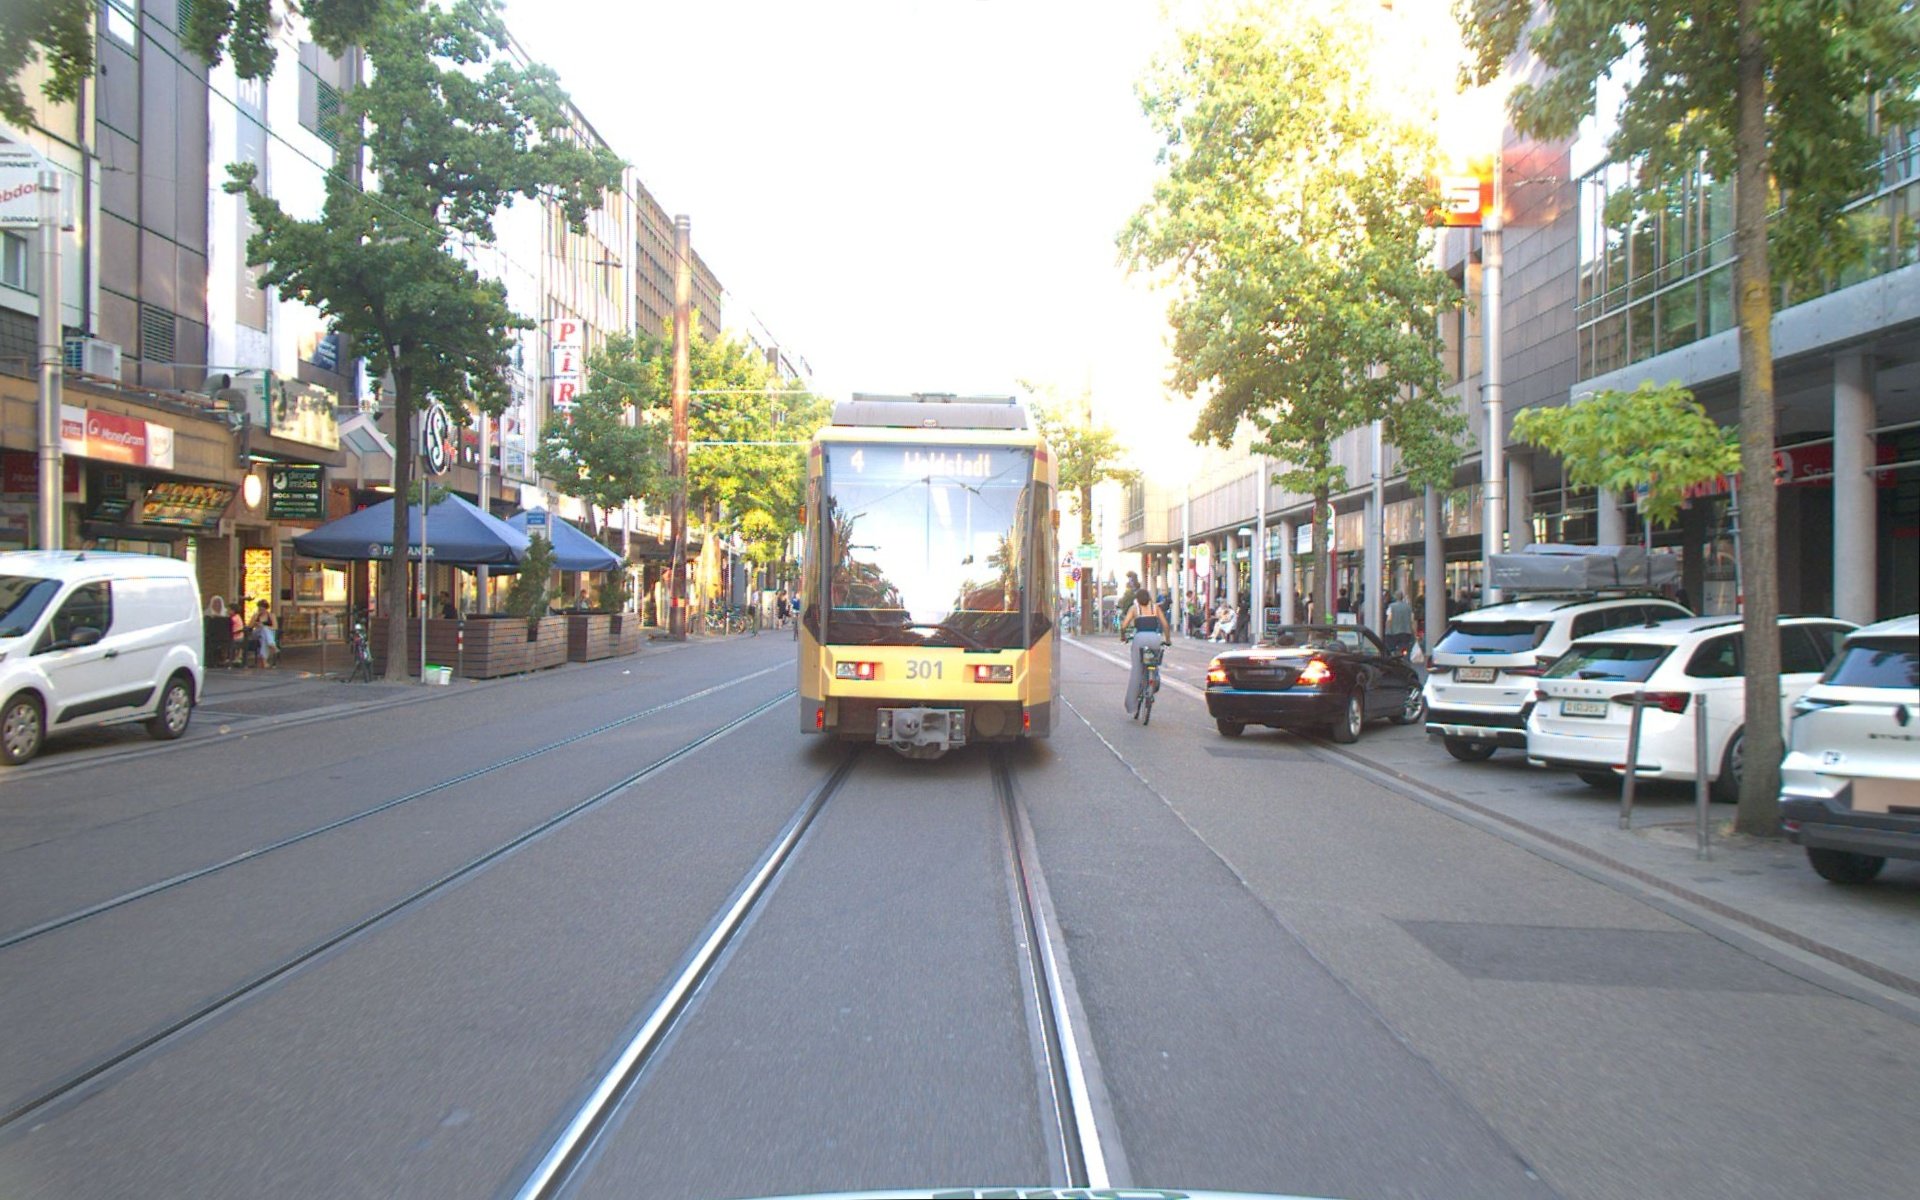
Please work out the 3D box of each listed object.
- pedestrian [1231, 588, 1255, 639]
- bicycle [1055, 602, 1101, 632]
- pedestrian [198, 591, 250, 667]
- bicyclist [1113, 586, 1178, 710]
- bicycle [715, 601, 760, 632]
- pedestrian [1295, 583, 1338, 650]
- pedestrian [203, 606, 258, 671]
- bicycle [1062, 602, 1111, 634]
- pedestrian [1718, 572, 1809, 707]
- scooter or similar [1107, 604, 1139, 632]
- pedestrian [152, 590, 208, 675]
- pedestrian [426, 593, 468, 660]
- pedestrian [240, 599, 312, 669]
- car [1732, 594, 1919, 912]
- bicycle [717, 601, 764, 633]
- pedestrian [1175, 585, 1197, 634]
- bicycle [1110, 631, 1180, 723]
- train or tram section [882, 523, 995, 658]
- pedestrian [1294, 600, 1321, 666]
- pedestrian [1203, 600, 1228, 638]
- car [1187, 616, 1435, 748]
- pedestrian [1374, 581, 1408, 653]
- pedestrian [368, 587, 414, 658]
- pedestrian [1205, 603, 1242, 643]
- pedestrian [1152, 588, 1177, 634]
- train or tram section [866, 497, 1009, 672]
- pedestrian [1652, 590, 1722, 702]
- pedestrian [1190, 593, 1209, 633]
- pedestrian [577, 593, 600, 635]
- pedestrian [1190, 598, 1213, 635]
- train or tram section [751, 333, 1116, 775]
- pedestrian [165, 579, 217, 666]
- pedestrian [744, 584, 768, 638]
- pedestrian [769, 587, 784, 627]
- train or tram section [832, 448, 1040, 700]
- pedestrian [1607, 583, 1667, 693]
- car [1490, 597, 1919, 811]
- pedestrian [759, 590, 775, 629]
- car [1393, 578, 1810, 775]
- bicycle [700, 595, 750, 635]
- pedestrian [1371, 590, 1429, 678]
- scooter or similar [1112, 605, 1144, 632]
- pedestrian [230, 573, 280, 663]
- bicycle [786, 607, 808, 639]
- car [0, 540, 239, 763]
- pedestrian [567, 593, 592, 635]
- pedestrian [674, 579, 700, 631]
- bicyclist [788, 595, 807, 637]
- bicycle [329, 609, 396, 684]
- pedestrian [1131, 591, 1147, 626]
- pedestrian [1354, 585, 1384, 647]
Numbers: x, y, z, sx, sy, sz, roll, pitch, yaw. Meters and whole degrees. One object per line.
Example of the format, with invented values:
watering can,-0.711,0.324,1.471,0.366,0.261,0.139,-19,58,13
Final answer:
pedestrian,9.481,0.455,55.438,0.686,1.666,0.646,-1,1,0
bicycle,6.012,0.860,84.308,2.282,1.497,0.790,1,-1,-4
pedestrian,-12.765,0.507,28.695,0.547,1.280,0.606,3,-1,4
bicyclist,2.411,0.621,21.569,0.712,1.553,0.733,2,-1,-1
bicycle,-8.970,0.678,66.577,1.699,1.146,0.563,3,-1,-4
pedestrian,10.375,0.467,48.182,1.031,1.909,0.929,-1,1,0
pedestrian,-12.149,0.647,27.551,0.444,1.047,0.660,3,-1,30
bicycle,6.142,0.876,80.216,2.282,1.497,0.790,1,-1,-4
pedestrian,11.185,0.536,23.042,0.859,1.813,0.755,-1,1,-1
scooter or similar,7.442,0.810,75.680,1.353,1.272,0.555,0,-1,-8
pedestrian,-12.149,0.503,25.765,0.511,1.278,0.587,3,-1,0
pedestrian,-9.992,0.515,32.236,0.547,1.278,0.606,3,-1,1
pedestrian,-11.895,0.588,28.791,0.804,1.140,0.779,3,-1,10
car,6.689,0.736,9.760,4.290,1.590,1.856,-2,0,-33
bicycle,-8.508,0.658,64.159,1.700,1.146,0.612,3,-1,-7
pedestrian,8.491,0.348,62.223,0.733,1.813,0.891,1,-1,3
bicycle,2.394,0.982,21.623,0.642,1.079,2.057,2,0,0
train or tram section,-0.639,-0.249,50.393,2.982,3.585,10.529,2,0,-1
pedestrian,10.157,0.960,48.334,0.584,1.871,0.829,-1,1,0
pedestrian,9.372,0.698,60.660,0.789,1.351,0.626,-1,1,1
car,4.498,0.928,20.692,1.768,1.372,4.437,0,1,30
pedestrian,10.092,0.396,38.762,0.584,1.644,0.755,-1,1,0
pedestrian,-10.671,0.417,31.039,0.591,1.278,0.561,3,-1,2
pedestrian,9.059,0.782,56.890,1.089,1.351,0.926,-1,0,1
pedestrian,8.090,0.434,65.424,0.870,1.813,0.751,1,-1,-2
train or tram section,-0.527,-0.307,39.718,2.942,3.585,10.843,1,0,-1
pedestrian,11.108,0.690,25.299,0.584,1.644,1.022,-1,1,-1
pedestrian,10.513,0.565,72.524,0.686,1.714,0.680,-1,1,0
pedestrian,-12.397,0.468,55.208,0.562,1.342,0.725,3,-1,0
pedestrian,9.127,0.625,62.466,0.724,1.351,0.720,-1,1,1
train or tram section,-0.271,-0.349,18.698,2.955,3.585,10.368,0,0,-1
pedestrian,-12.655,0.369,27.230,0.433,1.397,0.606,3,-1,10
pedestrian,-7.333,0.401,59.538,0.736,1.913,0.575,3,-1,-4
pedestrian,-8.085,0.312,72.998,0.540,1.716,0.575,3,-1,-4
train or tram section,-0.403,-0.367,29.082,2.946,3.585,10.400,1,0,-1
pedestrian,10.427,0.577,25.483,0.584,1.644,0.755,-1,1,-1
car,6.872,0.799,14.356,4.116,1.483,1.851,-3,0,-24
pedestrian,-8.599,0.413,73.698,0.563,1.716,0.551,3,-1,-10
car,6.661,0.696,17.071,4.154,1.666,1.900,-3,1,-32
bicycle,-8.866,0.572,62.392,1.766,1.384,0.658,3,-1,-12
pedestrian,8.359,0.637,31.457,0.859,1.609,0.755,2,1,-1
scooter or similar,7.605,0.830,74.789,1.356,1.232,0.514,0,-1,-14
pedestrian,-13.115,0.329,30.791,0.591,1.624,0.561,3,-1,2
bicycle,-5.671,0.798,57.523,0.628,1.040,1.588,2,0,-2
car,-8.773,0.420,15.617,1.757,1.850,4.516,2,-1,2
pedestrian,-12.405,0.459,53.926,0.562,1.342,0.725,3,-1,0
pedestrian,-10.745,0.199,65.187,0.831,2.049,0.921,1,-1,0
bicyclist,-5.668,0.545,57.595,0.608,1.441,0.699,1,-1,-3
bicycle,-9.759,0.740,26.969,0.801,1.122,2.148,1,1,-26
pedestrian,8.911,0.423,82.270,0.686,1.714,0.680,-1,1,0
pedestrian,11.209,0.427,45.370,0.584,1.644,0.829,-1,1,0
